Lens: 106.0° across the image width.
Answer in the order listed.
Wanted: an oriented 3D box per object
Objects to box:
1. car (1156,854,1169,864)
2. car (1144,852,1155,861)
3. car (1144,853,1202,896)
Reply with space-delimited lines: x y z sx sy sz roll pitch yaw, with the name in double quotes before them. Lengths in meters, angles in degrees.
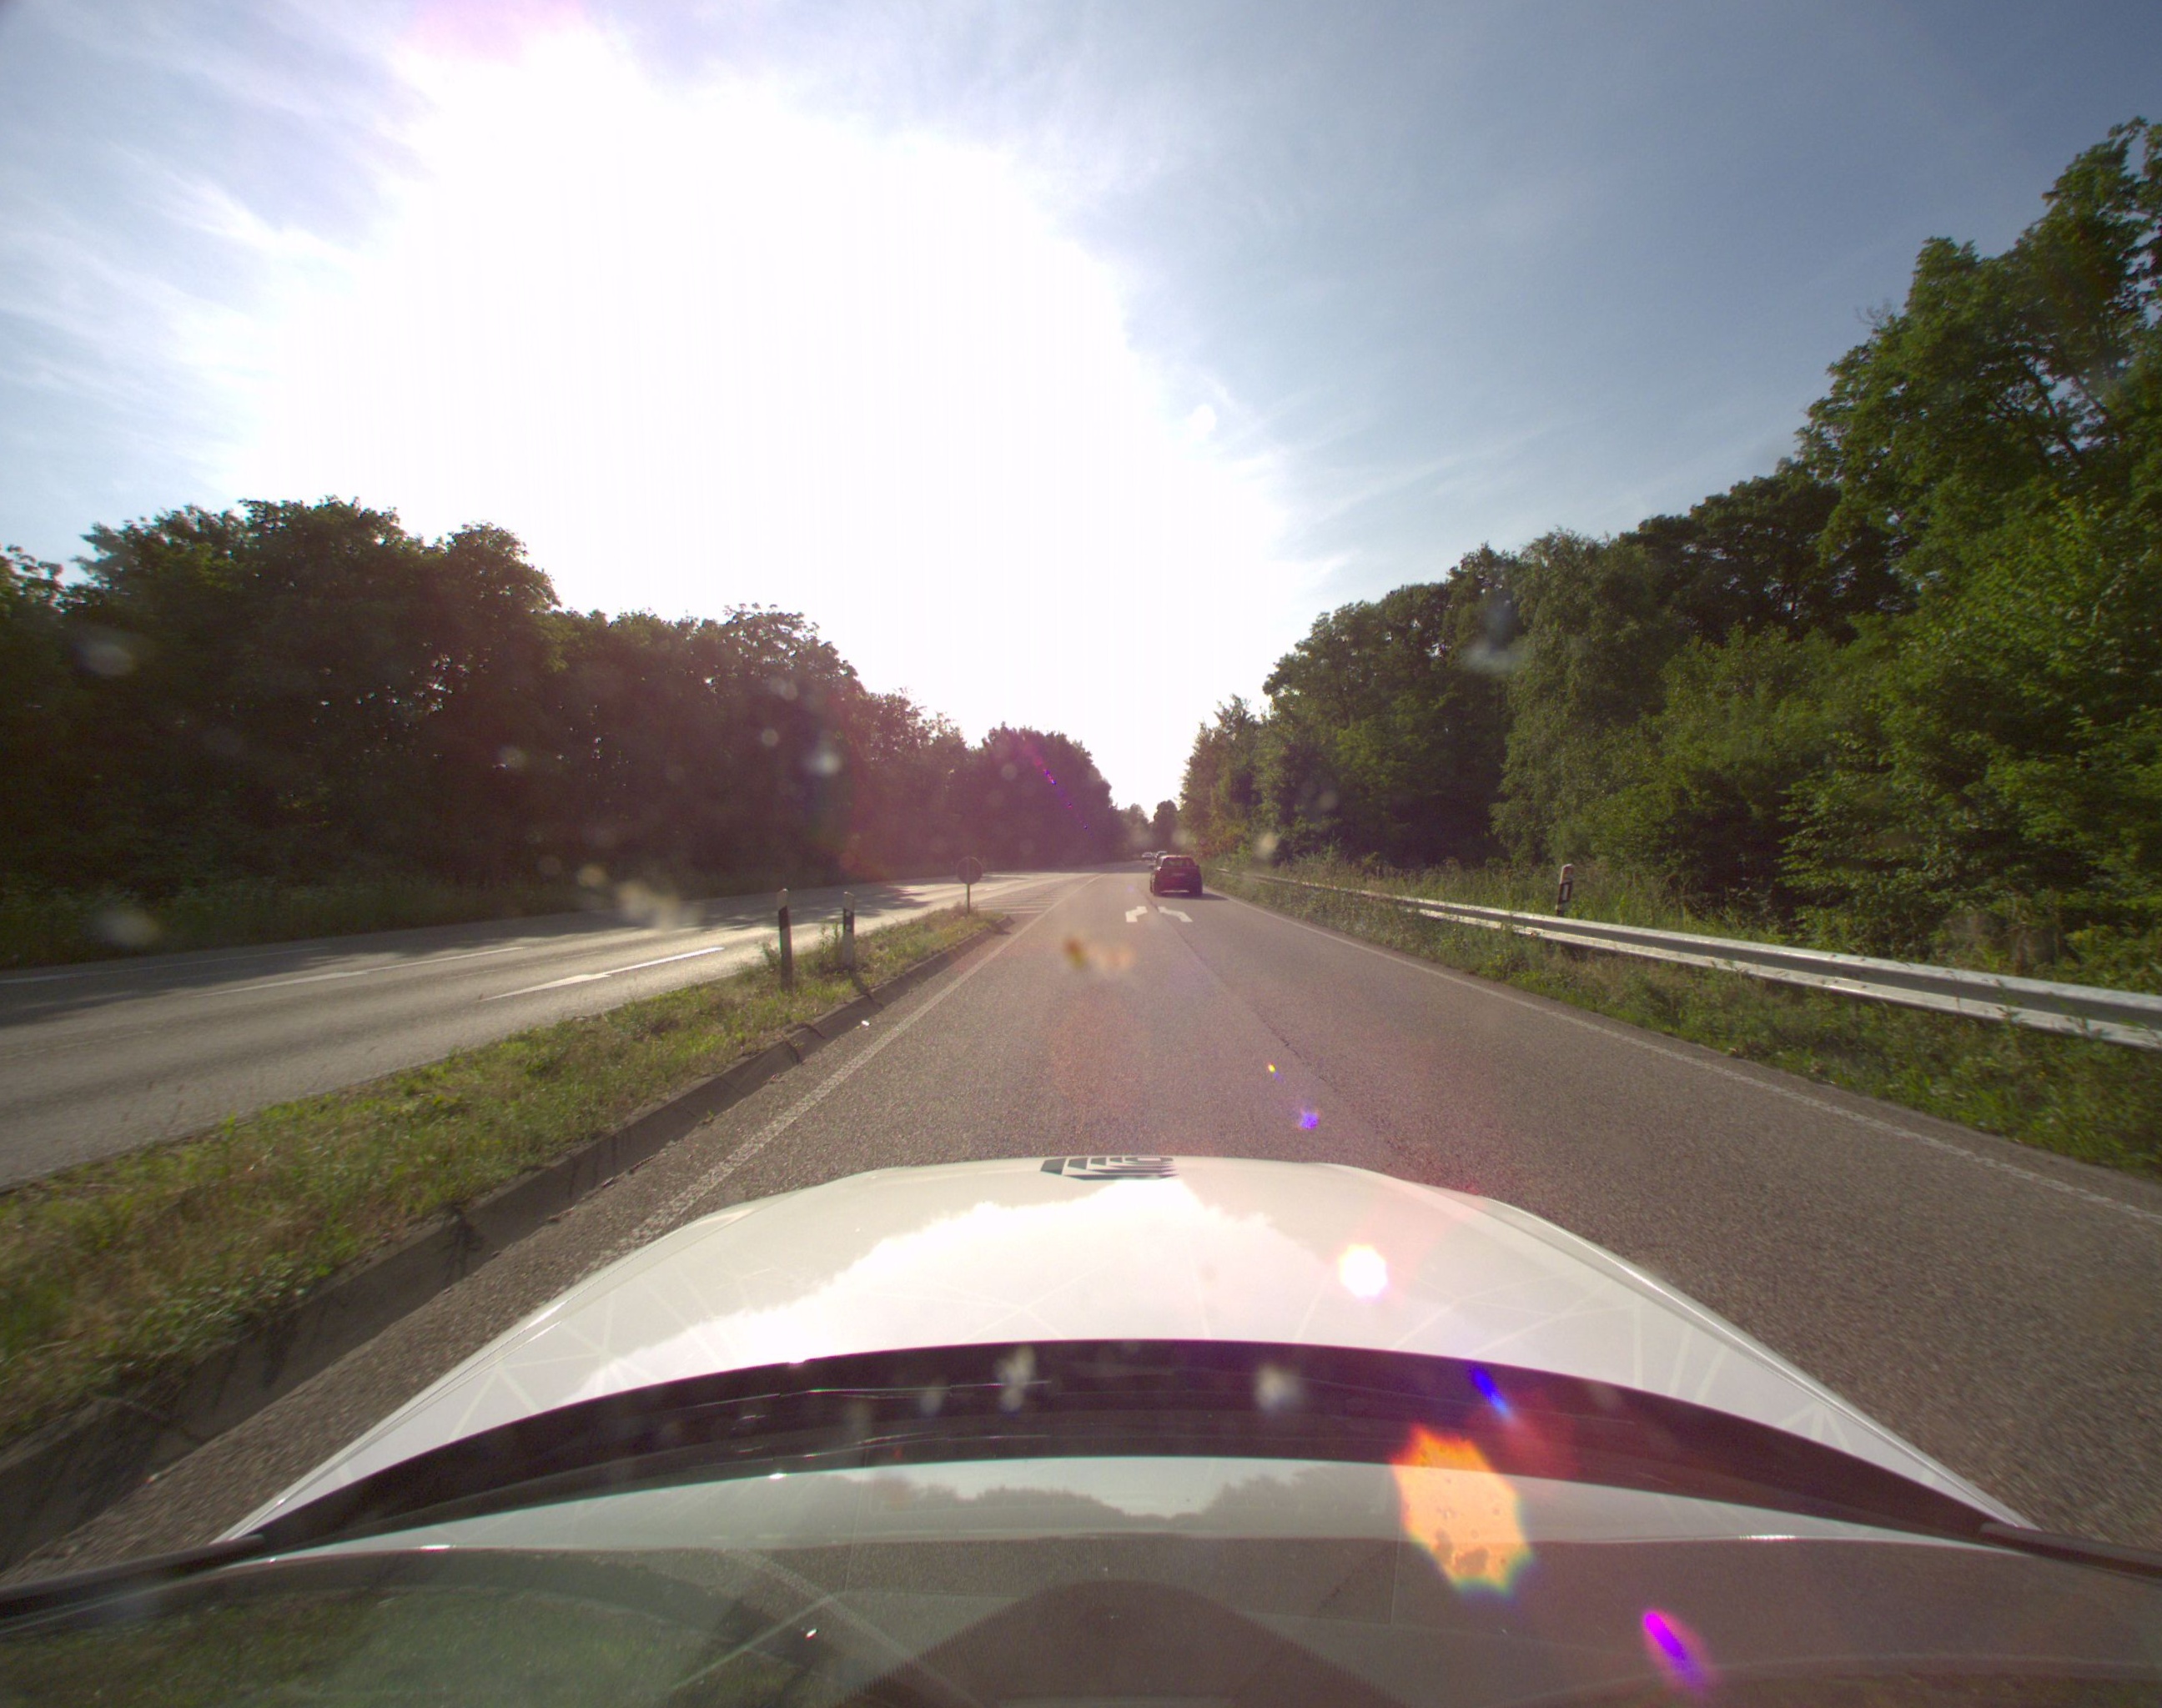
"car" 11.916 0.748 119.281 1.754 1.380 3.975 -1 -1 3
"car" 11.760 0.459 139.848 1.753 1.380 3.975 -1 -1 4
"car" 3.347 0.752 30.189 1.813 1.468 3.874 -1 -1 1
